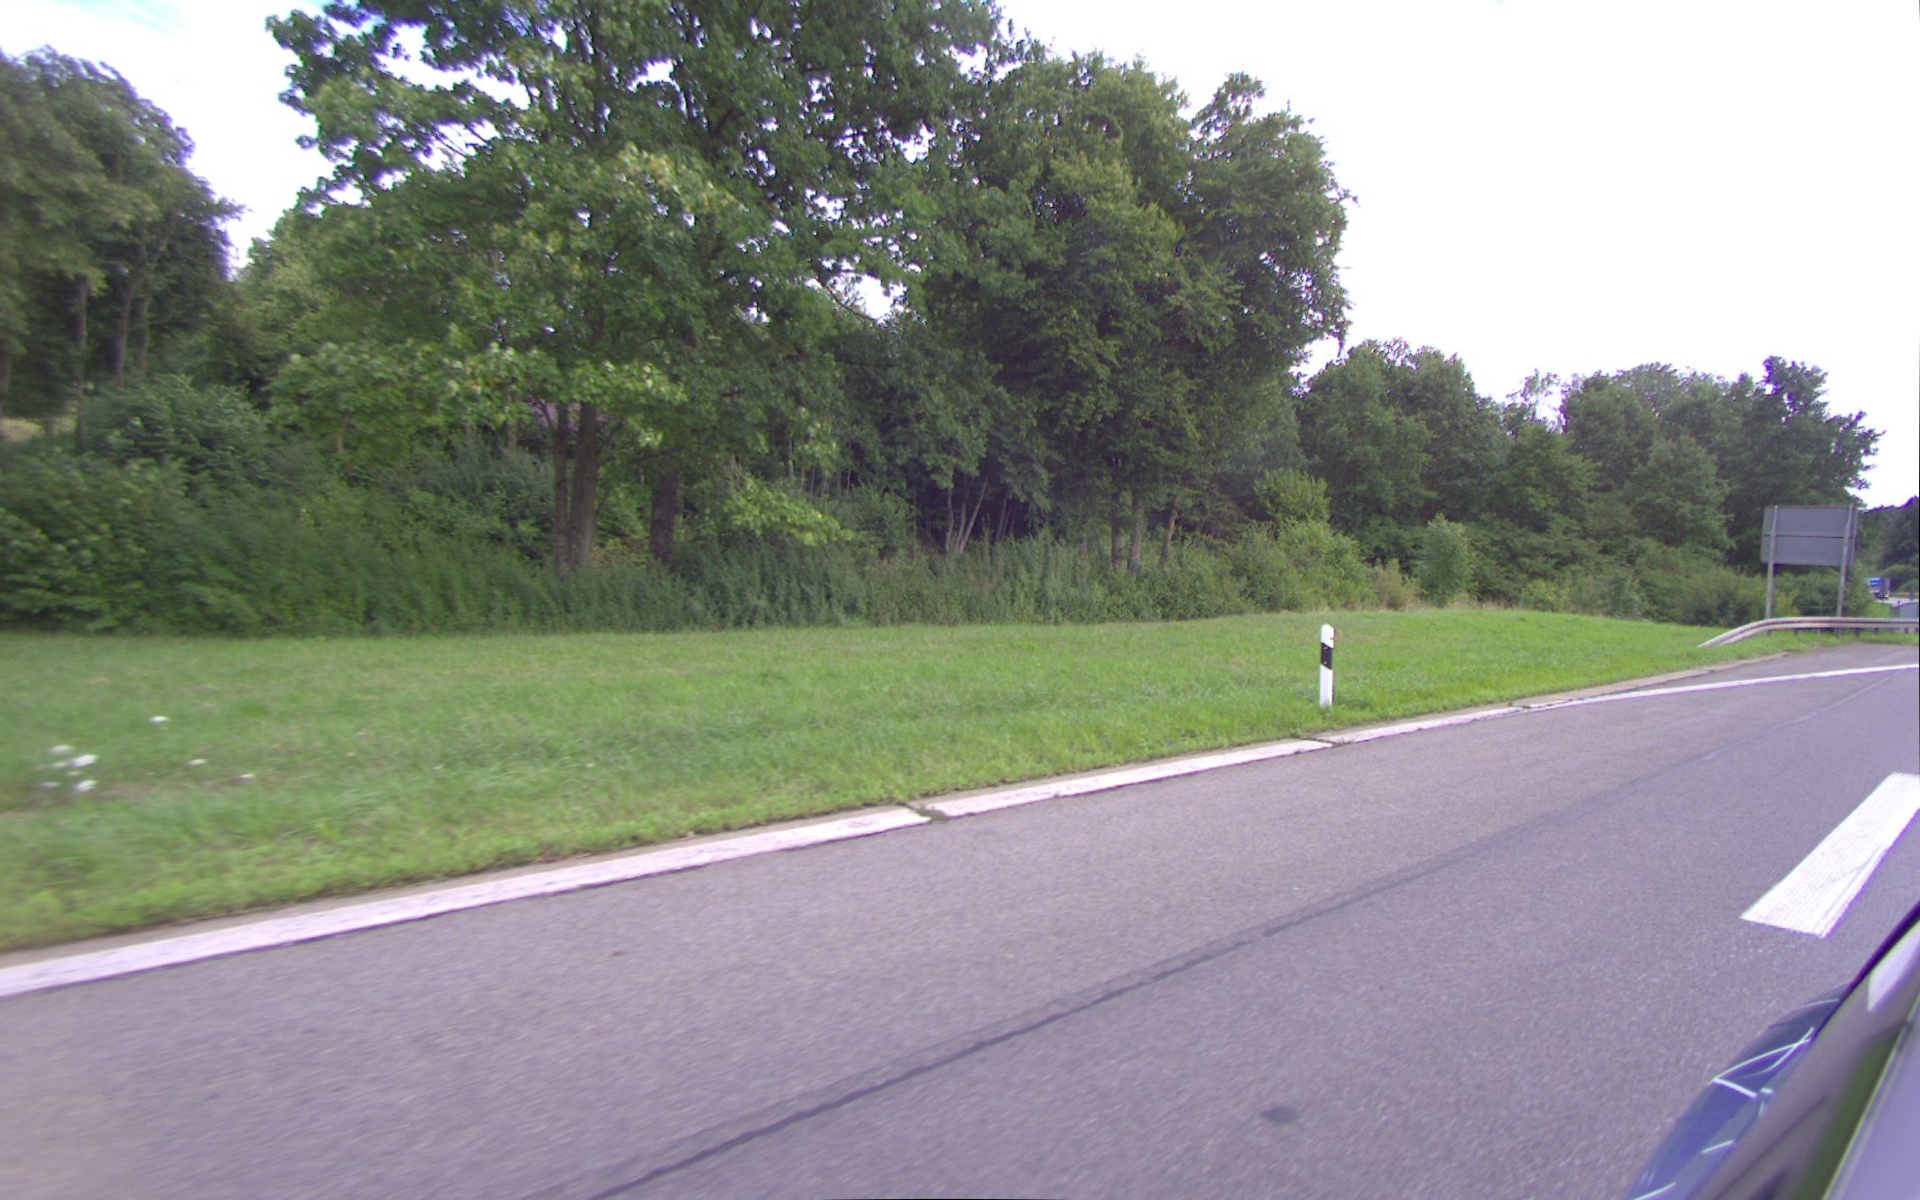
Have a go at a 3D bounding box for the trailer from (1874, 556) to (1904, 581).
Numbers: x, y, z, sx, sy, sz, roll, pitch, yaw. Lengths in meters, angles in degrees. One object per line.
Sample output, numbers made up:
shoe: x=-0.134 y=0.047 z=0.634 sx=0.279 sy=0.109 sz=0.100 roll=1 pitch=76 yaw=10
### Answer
trailer: x=155.975 y=-5.295 z=170.002 sx=2.775 sy=4.003 sz=11.141 roll=2 pitch=2 yaw=38
